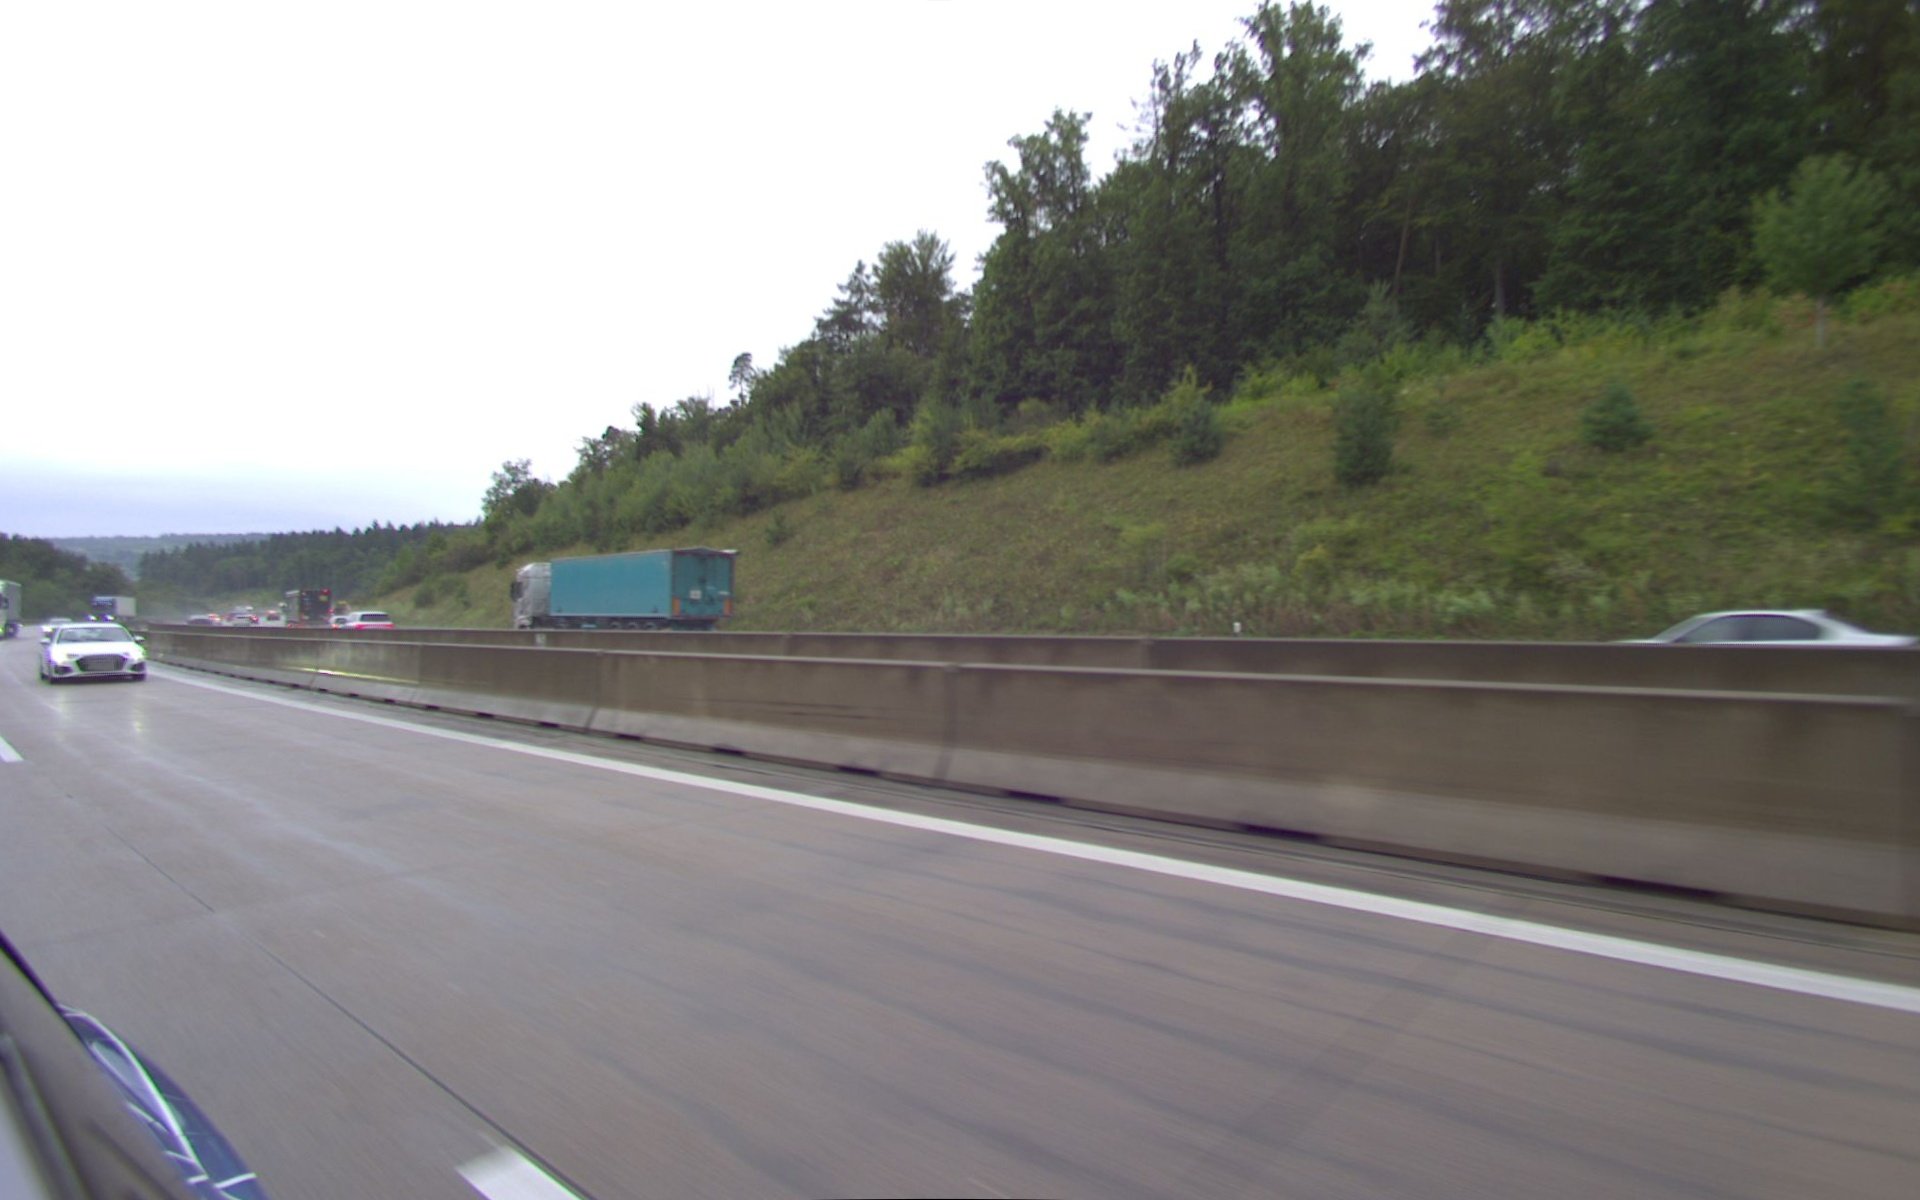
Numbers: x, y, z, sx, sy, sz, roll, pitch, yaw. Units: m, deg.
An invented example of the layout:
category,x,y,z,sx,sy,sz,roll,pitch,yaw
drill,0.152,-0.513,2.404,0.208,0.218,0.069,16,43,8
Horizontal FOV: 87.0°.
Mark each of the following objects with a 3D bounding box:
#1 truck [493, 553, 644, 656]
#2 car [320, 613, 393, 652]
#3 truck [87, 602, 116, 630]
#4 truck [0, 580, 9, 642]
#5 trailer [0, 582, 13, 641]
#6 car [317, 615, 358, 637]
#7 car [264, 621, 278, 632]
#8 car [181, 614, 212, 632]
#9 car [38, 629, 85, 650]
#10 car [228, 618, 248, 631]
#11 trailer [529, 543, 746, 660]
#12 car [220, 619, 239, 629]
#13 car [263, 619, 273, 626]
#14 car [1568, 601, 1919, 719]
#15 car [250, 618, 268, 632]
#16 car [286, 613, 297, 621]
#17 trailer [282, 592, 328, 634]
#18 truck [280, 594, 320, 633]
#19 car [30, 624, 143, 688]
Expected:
category,x,y,z,sx,sy,sz,roll,pitch,yaw
truck,-16.477,0.234,42.315,7.363,3.918,2.876,-1,-1,42
car,-29.128,1.523,48.781,4.757,1.790,1.712,-1,-1,42
truck,-132.749,2.565,156.554,2.694,4.183,8.642,-1,-1,-35
truck,-66.321,0.842,68.379,2.688,4.071,5.760,-3,1,-42
trailer,-71.129,0.968,73.743,2.647,4.071,13.721,-3,1,-42
car,-43.986,1.836,71.480,1.710,1.504,4.003,1,-1,-44
car,-123.899,4.734,181.942,1.967,2.029,4.009,0,-1,-36
car,-65.721,1.951,87.089,1.710,1.504,4.004,1,-1,-43
car,-69.795,3.021,78.676,1.819,1.494,4.463,-1,-1,-29
car,-93.057,3.142,130.386,1.967,1.597,4.782,0,-1,-37
trailer,-12.645,0.136,38.771,11.035,3.918,2.875,-1,-1,43
car,-119.133,3.979,165.067,1.969,1.597,4.778,0,-1,-41
car,-146.662,4.745,214.417,1.718,1.573,4.294,0,-1,-35
car,11.986,0.851,15.600,4.243,1.588,1.712,-1,-1,42
car,-103.890,3.657,149.999,1.968,2.029,4.008,0,-1,-39
car,-143.137,3.603,216.682,1.718,1.573,4.294,0,-1,-35
trailer,-64.967,1.307,100.257,2.889,3.990,13.493,0,-1,-37
truck,-68.806,1.413,105.467,2.889,3.990,8.135,0,-1,-37
car,-21.858,1.340,25.253,4.937,1.418,1.693,-2,-1,44
